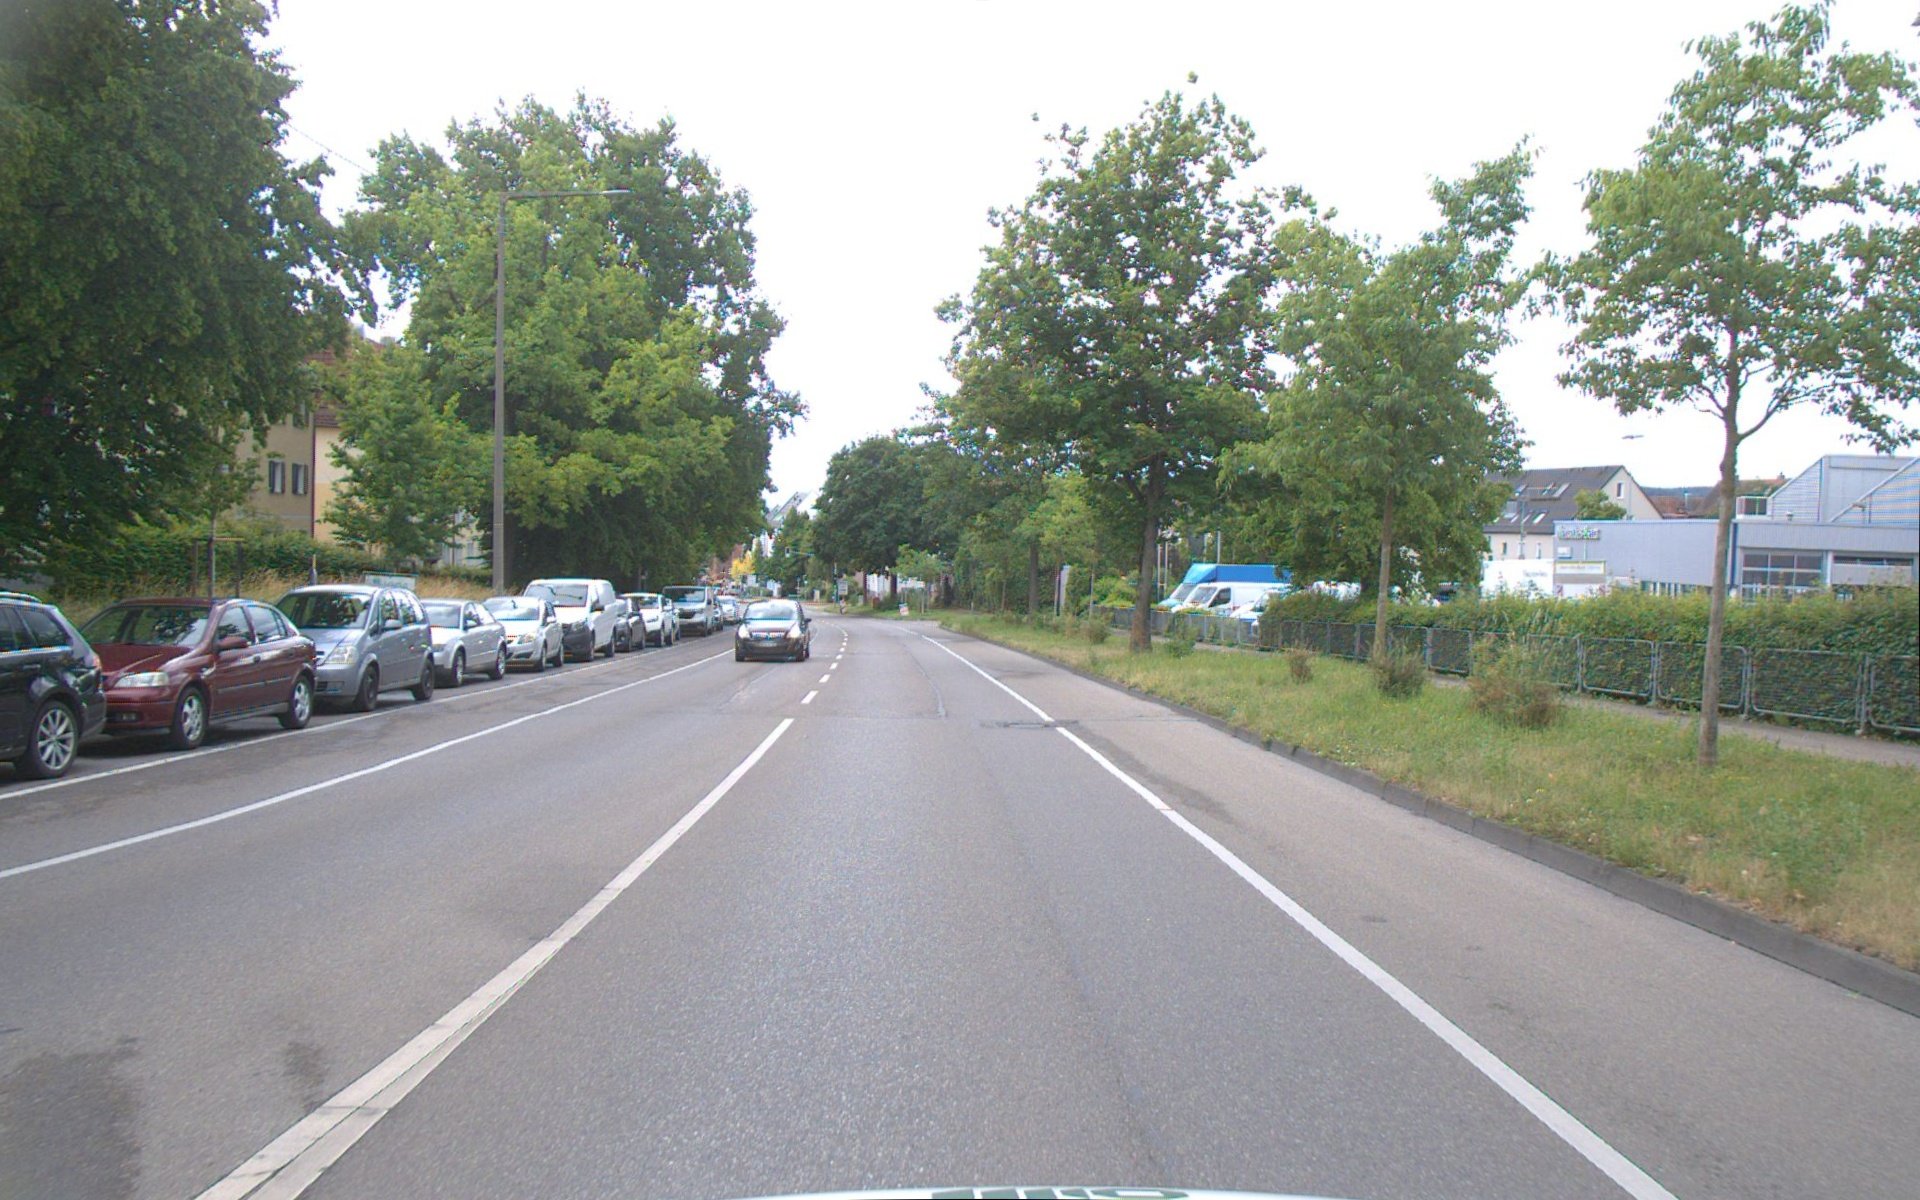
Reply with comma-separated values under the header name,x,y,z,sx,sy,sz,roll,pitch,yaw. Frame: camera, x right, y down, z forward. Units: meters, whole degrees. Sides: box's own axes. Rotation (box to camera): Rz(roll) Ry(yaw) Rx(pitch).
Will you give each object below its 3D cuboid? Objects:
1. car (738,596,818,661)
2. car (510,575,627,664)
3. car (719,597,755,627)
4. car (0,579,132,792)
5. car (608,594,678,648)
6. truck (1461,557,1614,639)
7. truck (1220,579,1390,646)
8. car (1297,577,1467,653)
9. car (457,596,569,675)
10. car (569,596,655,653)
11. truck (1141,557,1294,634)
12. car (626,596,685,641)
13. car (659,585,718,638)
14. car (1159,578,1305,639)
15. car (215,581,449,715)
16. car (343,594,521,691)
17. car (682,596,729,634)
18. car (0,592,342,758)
name,x,y,z,sx,sy,sz,roll,pitch,yaw
car,-4.430,0.675,40.670,1.604,1.493,3.999,0,0,-1
car,-9.346,0.428,39.910,1.732,1.964,5.153,2,0,-2
car,-12.383,0.661,92.094,1.732,1.600,4.754,0,0,-5
car,-8.113,0.626,11.936,1.836,1.598,4.651,1,0,1
car,-9.738,0.631,51.048,1.640,1.592,4.278,0,0,-4
truck,26.799,-0.060,77.379,2.799,3.519,9.526,2,0,-7
truck,12.489,0.464,59.768,6.170,2.251,2.223,2,0,-31
car,13.342,0.487,52.201,5.185,2.226,2.052,2,0,-28
car,-9.105,0.692,33.950,1.603,1.458,3.945,2,0,-6
car,-9.693,0.661,46.257,1.639,1.514,4.043,-1,0,-2
truck,12.344,-0.207,79.141,7.080,3.538,2.595,0,0,-28
car,-10.494,0.626,57.148,1.630,1.505,4.085,1,0,-5
car,-10.712,0.452,65.593,1.829,1.998,5.122,1,0,-4
car,11.707,0.380,71.104,5.939,2.408,2.342,2,0,-27
car,-8.286,0.579,22.226,1.732,1.619,4.132,1,0,-3
car,-9.011,0.666,28.591,1.732,1.521,4.356,-1,0,-1
car,-11.488,0.678,74.895,1.731,1.662,4.154,1,0,-4
car,-8.027,0.671,17.031,1.731,1.473,4.149,1,0,0
